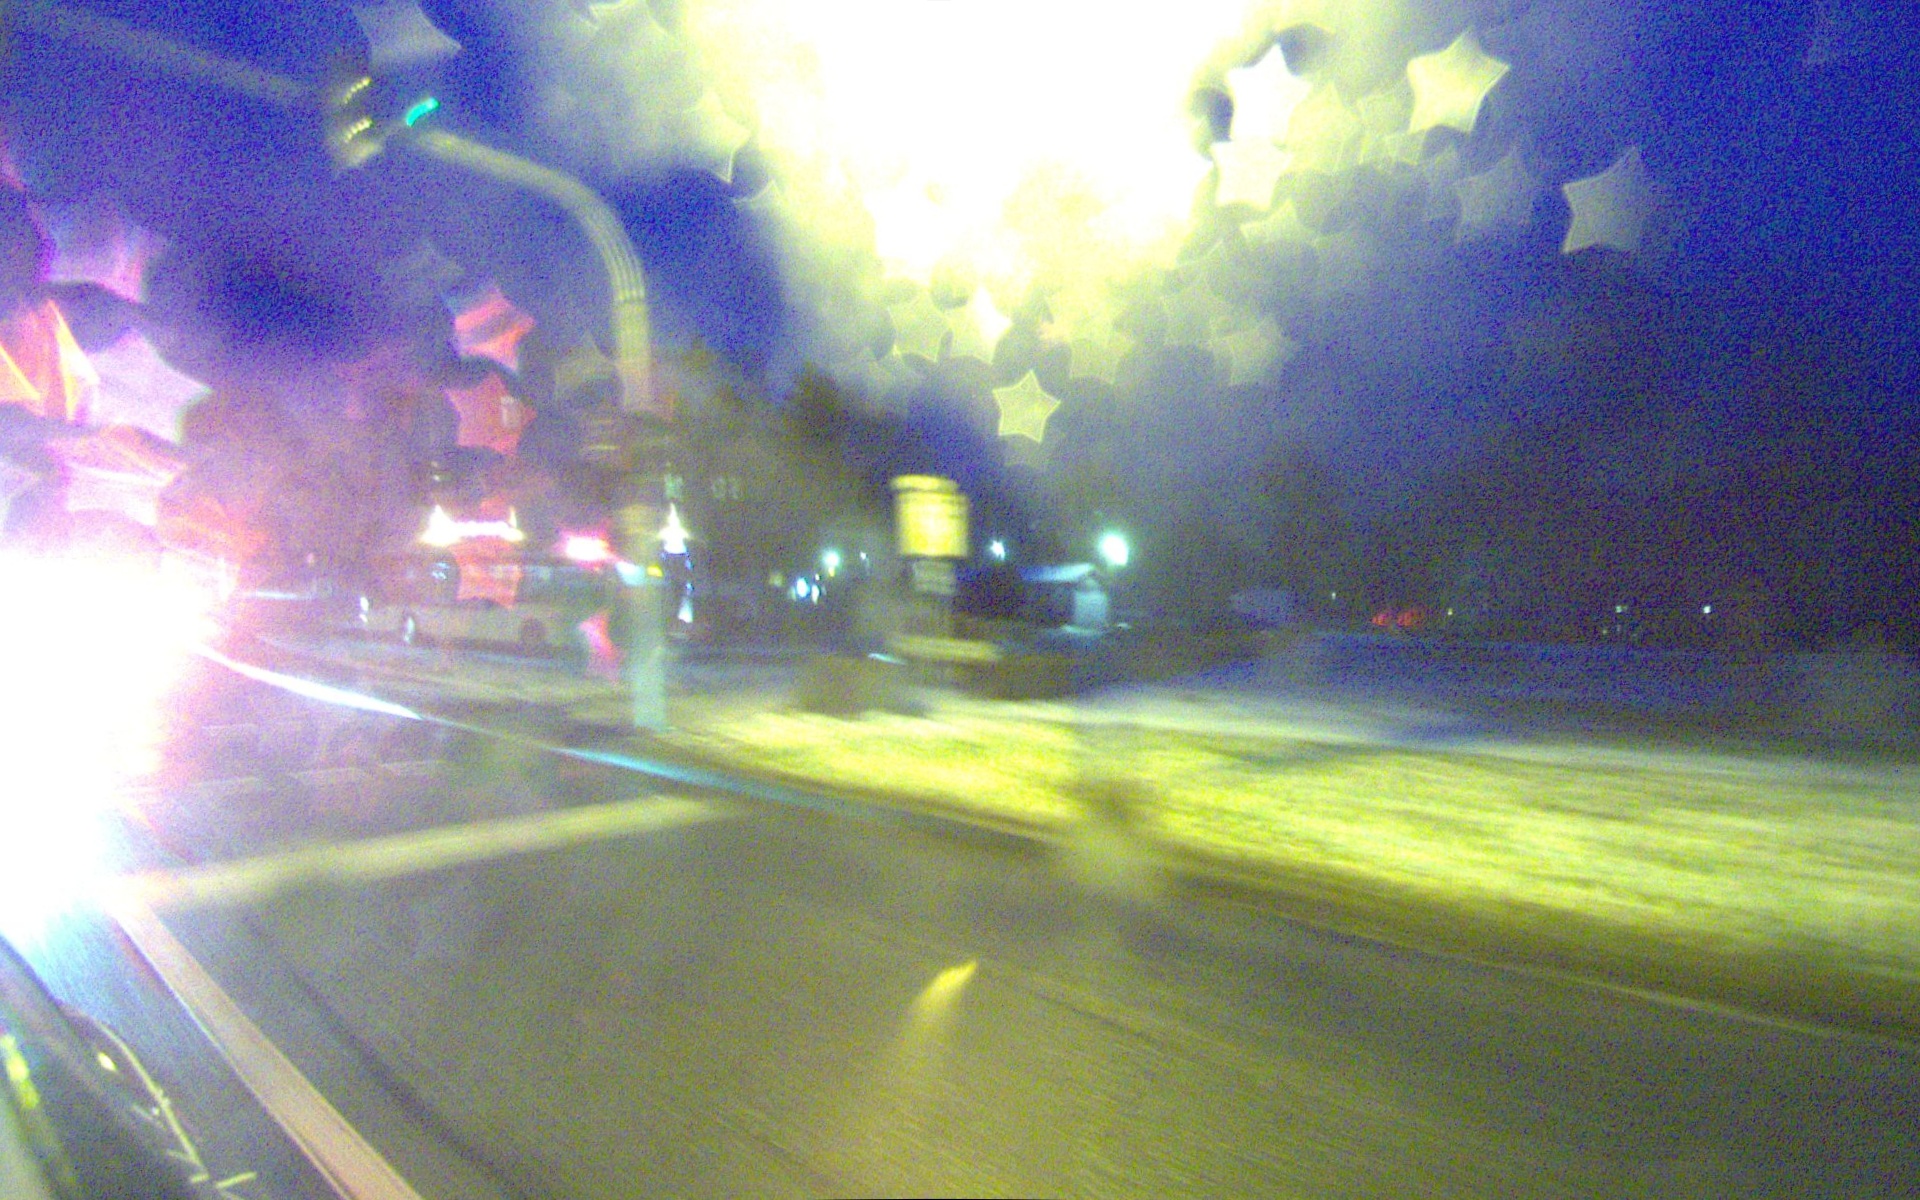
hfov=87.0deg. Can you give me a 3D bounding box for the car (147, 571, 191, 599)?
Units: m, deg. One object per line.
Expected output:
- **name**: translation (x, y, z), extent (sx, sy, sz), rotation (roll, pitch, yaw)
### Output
- **car**: translation (-44.939, -0.844, 57.548), extent (1.689, 1.487, 3.879), rotation (-2, 1, -34)

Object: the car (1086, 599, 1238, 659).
- **car**: translation (6.678, 0.905, 33.605), extent (4.613, 1.709, 1.922), rotation (1, 2, 32)

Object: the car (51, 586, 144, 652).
- **car**: translation (-21.537, 0.459, 25.268), extent (1.615, 1.522, 4.123), rotation (2, -1, -41)

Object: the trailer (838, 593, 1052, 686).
- **trailer**: translation (-0.354, 0.792, 20.374), extent (4.094, 1.690, 1.795), rotation (-2, -3, 38)

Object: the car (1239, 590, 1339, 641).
- **car**: translation (14.564, 0.637, 44.817), extent (3.983, 2.071, 1.747), rotation (1, 2, 30)

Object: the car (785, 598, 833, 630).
- **car**: translation (-7.807, 0.694, 52.033), extent (1.829, 1.408, 4.052), rotation (3, 1, -17)

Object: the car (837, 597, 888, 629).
- **car**: translation (-5.136, 0.663, 52.594), extent (1.829, 1.408, 4.052), rotation (3, 1, -17)

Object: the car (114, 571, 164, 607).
- **car**: translation (-38.775, -0.510, 47.867), extent (1.673, 1.611, 3.809), rotation (0, 0, -37)

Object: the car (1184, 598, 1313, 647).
- **car**: translation (11.447, 0.854, 40.302), extent (4.613, 1.709, 1.922), rotation (1, 2, 32)

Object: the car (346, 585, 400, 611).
- **car**: translation (-34.542, -0.127, 59.637), extent (1.665, 1.408, 4.162), rotation (3, -1, -15)

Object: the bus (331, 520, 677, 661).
- **bus**: translation (-14.914, -0.276, 32.378), extent (13.001, 3.897, 2.874), rotation (0, 1, 29)

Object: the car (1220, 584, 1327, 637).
- **car**: translation (13.244, 0.403, 42.769), extent (3.983, 2.071, 1.980), rotation (1, 2, 30)
